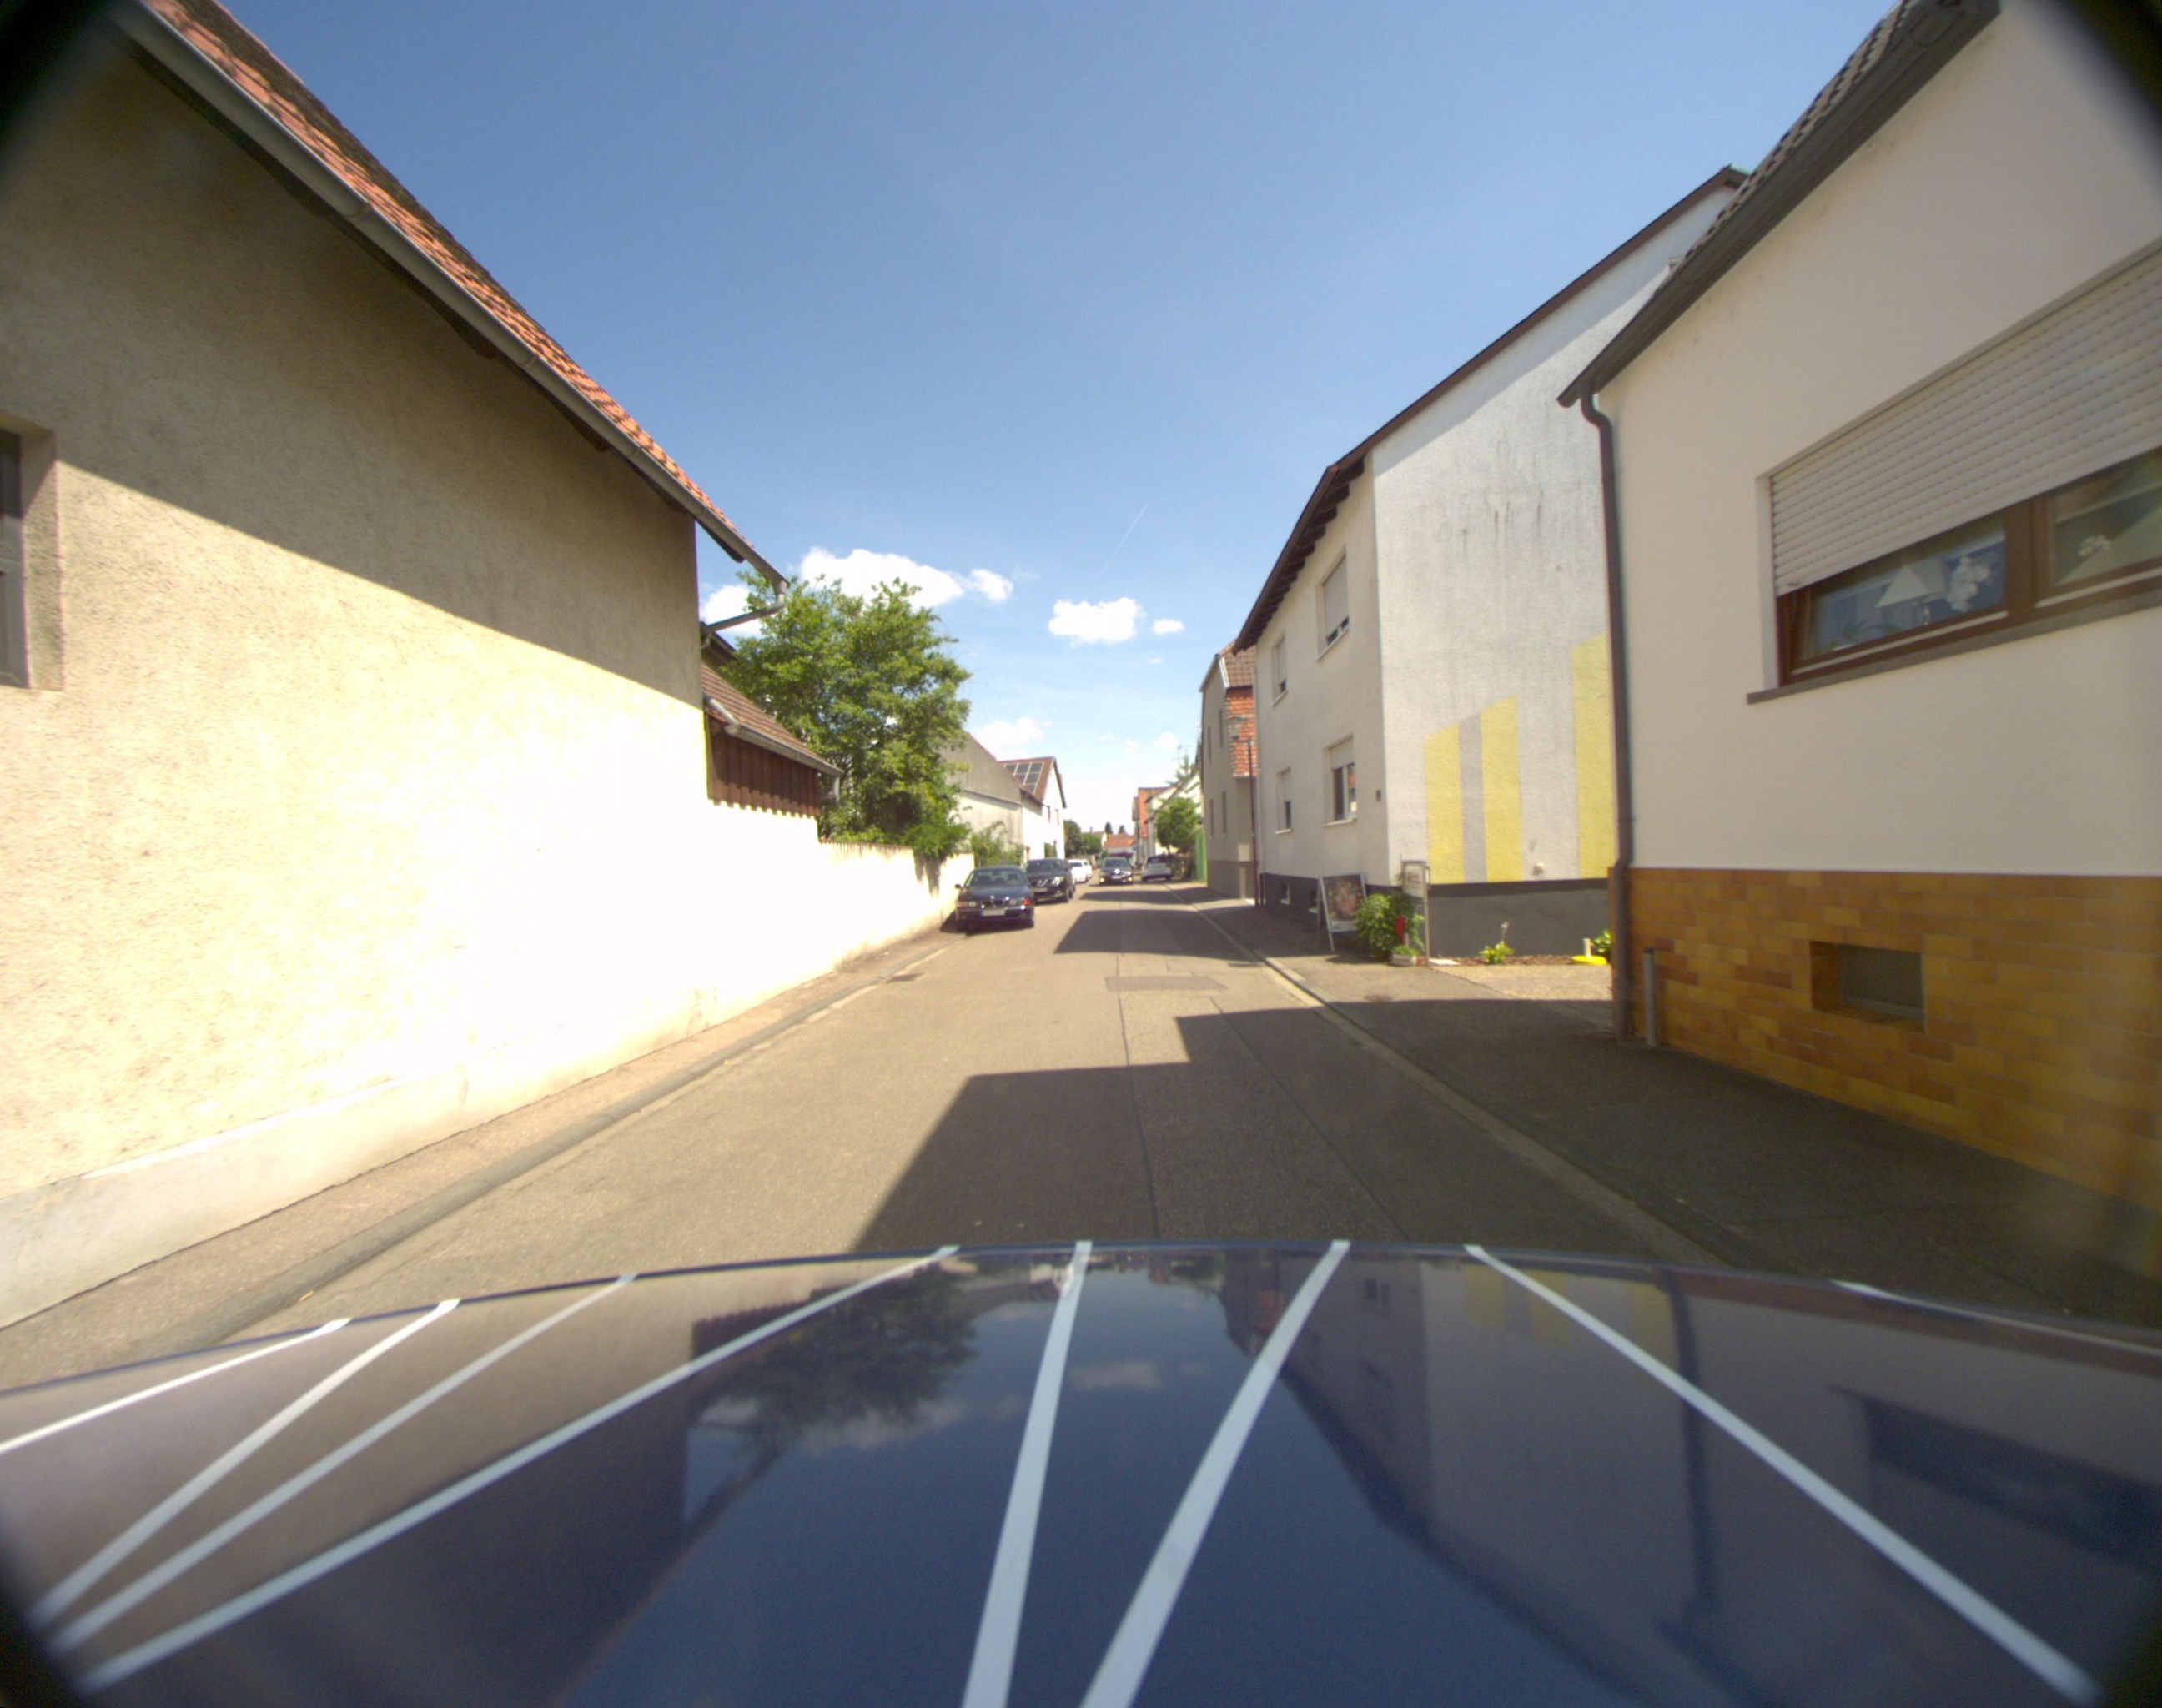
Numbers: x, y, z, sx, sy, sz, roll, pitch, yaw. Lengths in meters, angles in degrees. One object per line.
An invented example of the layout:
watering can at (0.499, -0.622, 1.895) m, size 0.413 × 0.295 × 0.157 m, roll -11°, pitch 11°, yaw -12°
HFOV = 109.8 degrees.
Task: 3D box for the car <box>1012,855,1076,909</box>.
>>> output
car at (-1.243, 0.937, 27.453) m, size 1.784 × 1.600 × 4.000 m, roll -5°, pitch 0°, yaw 3°

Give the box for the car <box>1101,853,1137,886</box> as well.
car at (2.060, 0.792, 40.948) m, size 1.784 × 1.527 × 4.710 m, roll -2°, pitch 1°, yaw 3°

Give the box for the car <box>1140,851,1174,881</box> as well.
car at (4.635, 0.690, 46.846) m, size 1.784 × 1.600 × 4.000 m, roll -5°, pitch 0°, yaw 3°

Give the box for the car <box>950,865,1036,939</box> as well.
car at (-2.027, 1.061, 18.366) m, size 1.785 × 1.471 × 3.998 m, roll -2°, pitch 0°, yaw -4°

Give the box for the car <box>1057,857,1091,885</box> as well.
car at (-0.403, 1.011, 47.828) m, size 1.784 × 1.492 × 4.039 m, roll -5°, pitch 0°, yaw 3°

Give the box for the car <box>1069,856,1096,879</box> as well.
car at (0.181, 1.028, 59.903) m, size 1.784 × 1.492 × 4.039 m, roll -5°, pitch 0°, yaw 3°
